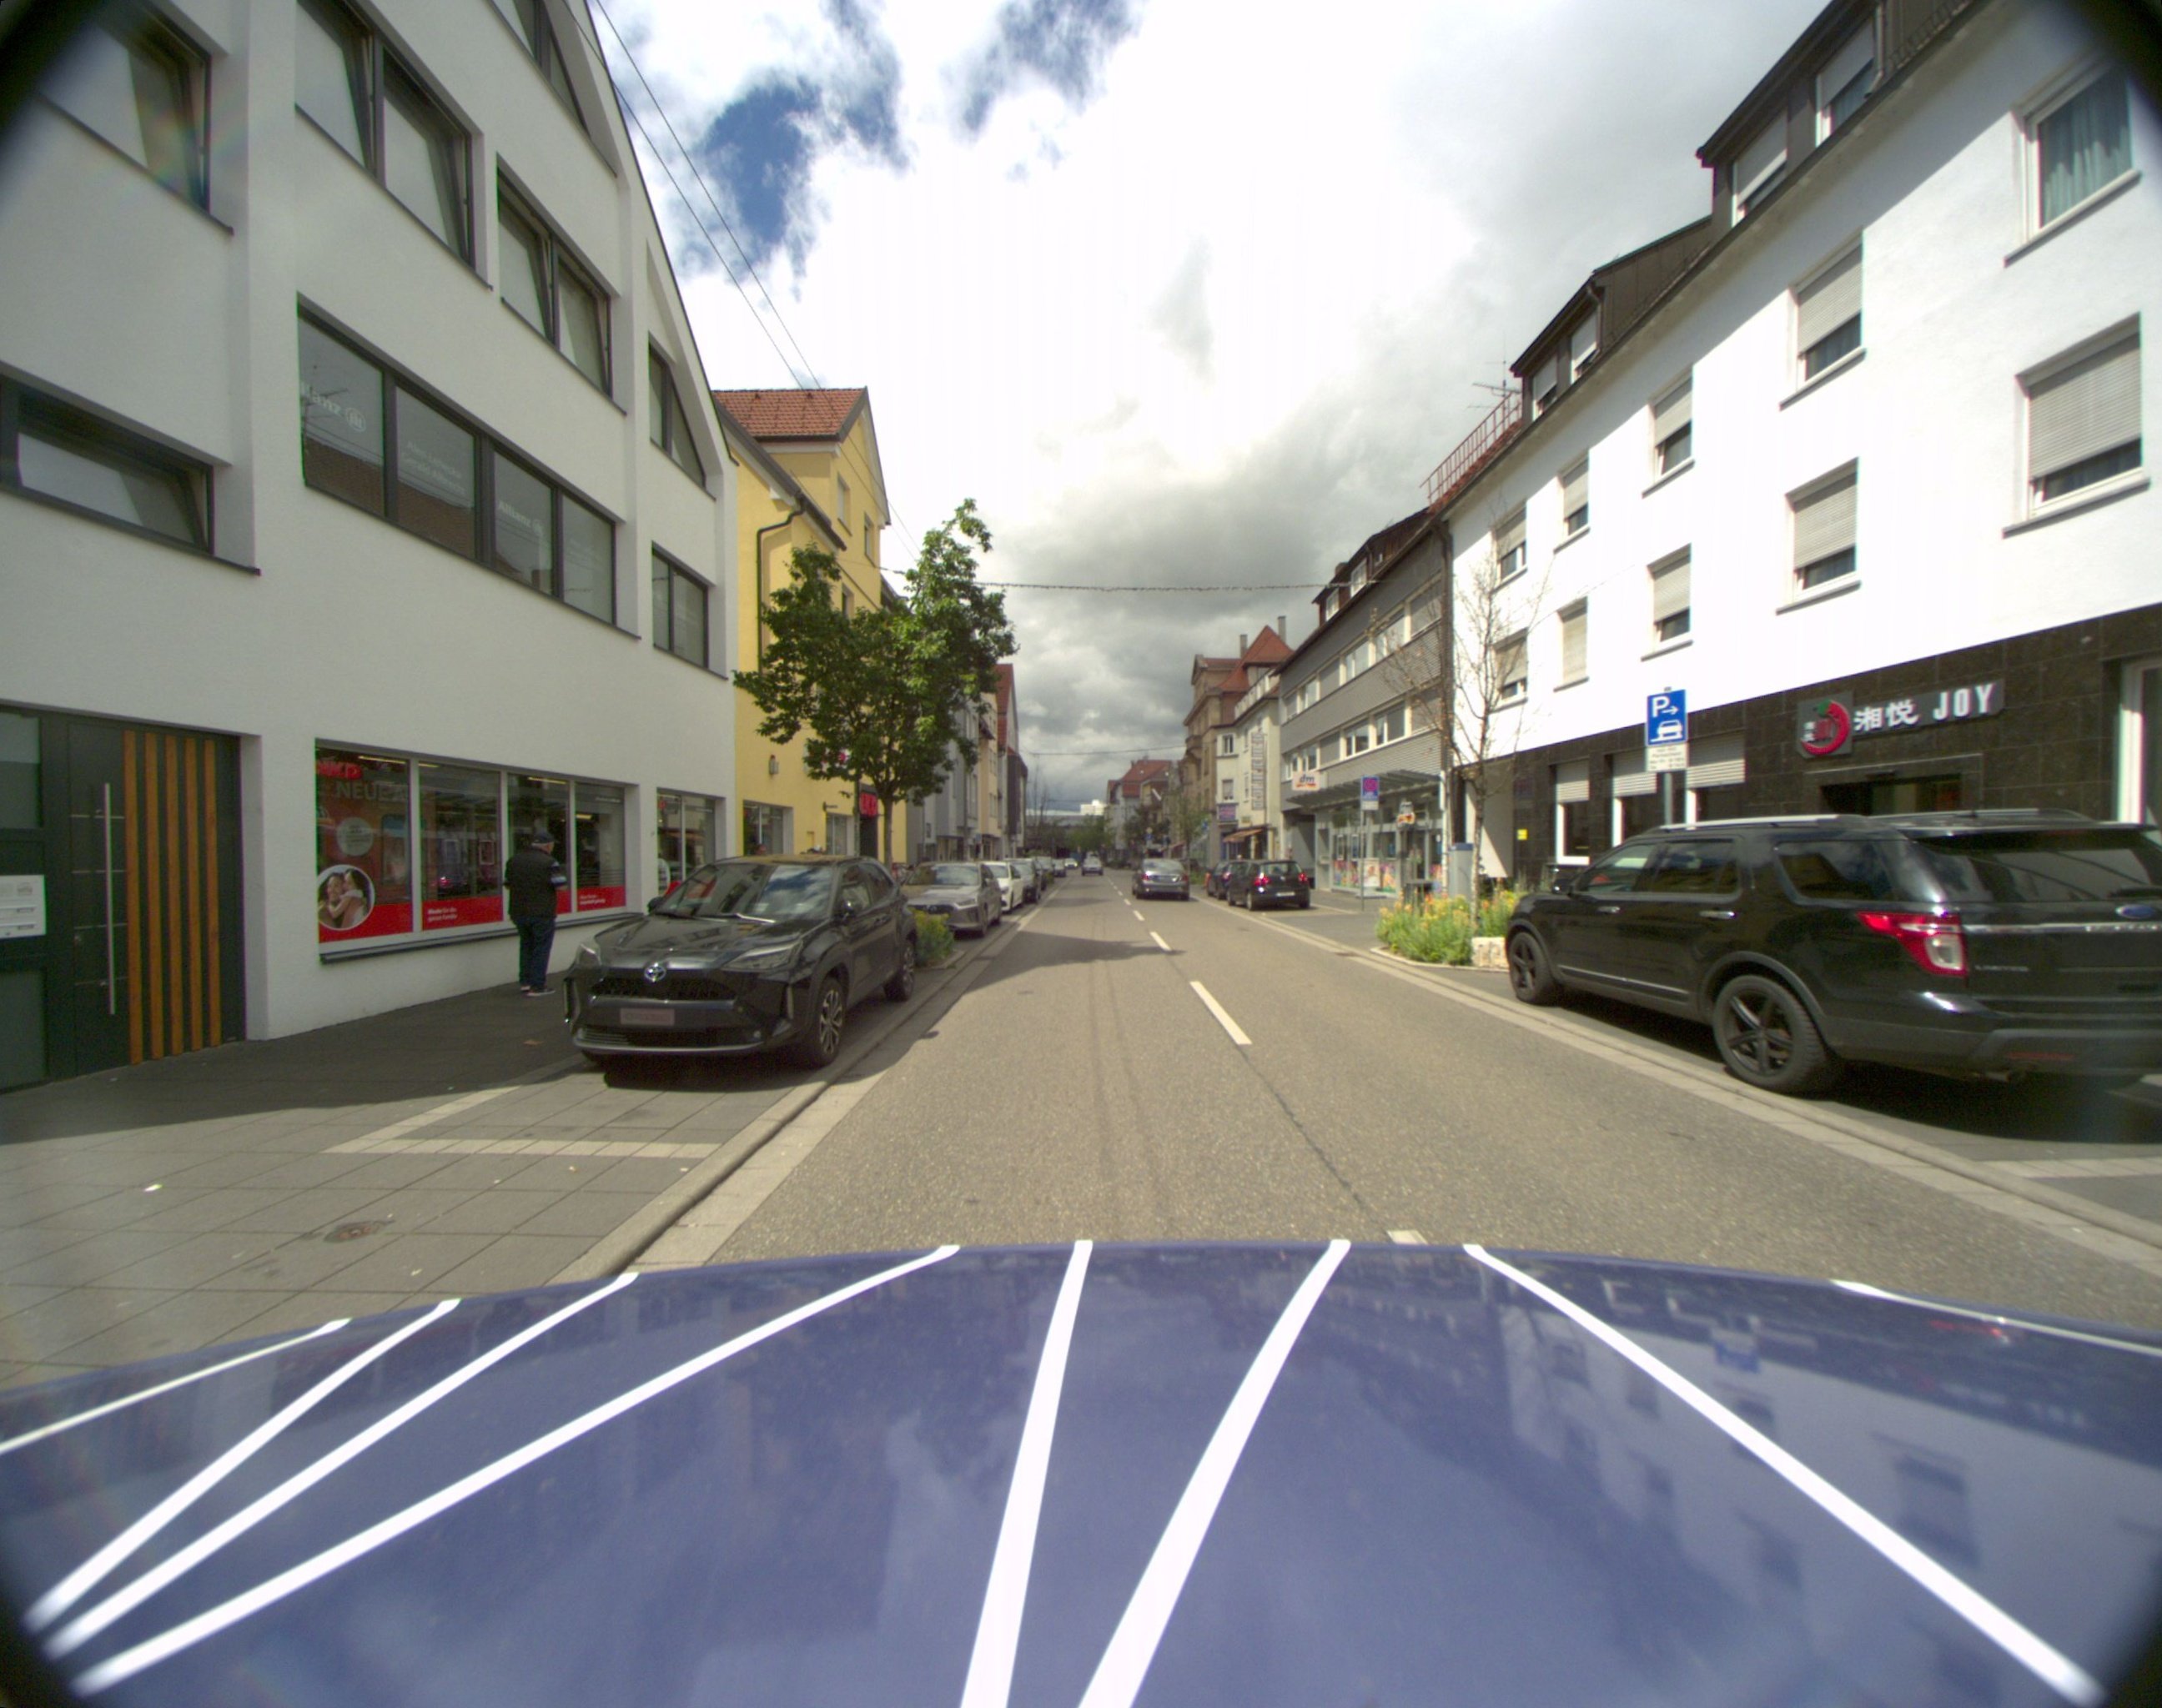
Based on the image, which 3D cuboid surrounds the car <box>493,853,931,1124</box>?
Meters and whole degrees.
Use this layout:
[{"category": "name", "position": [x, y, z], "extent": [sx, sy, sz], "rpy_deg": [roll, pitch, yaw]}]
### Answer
[{"category": "car", "position": [-2.681, 0.833, 6.735], "extent": [1.725, 1.568, 4.108], "rpy_deg": [-2, 1, 1]}]

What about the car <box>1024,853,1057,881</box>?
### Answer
[{"category": "car", "position": [-2.445, 0.767, 46.802], "extent": [1.804, 1.594, 4.203], "rpy_deg": [1, 0, -1]}]

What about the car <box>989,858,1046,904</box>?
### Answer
[{"category": "car", "position": [-2.180, 0.928, 27.087], "extent": [1.694, 1.463, 4.523], "rpy_deg": [-2, -1, -2]}]

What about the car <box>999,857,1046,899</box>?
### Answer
[{"category": "car", "position": [-2.430, 0.988, 32.379], "extent": [1.693, 1.565, 3.755], "rpy_deg": [-2, 1, 0]}]

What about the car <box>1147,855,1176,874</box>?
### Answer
[{"category": "car", "position": [6.700, 0.850, 63.890], "extent": [1.850, 1.390, 4.035], "rpy_deg": [-2, 1, -2]}]

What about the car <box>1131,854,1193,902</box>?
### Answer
[{"category": "car", "position": [2.988, 0.845, 28.862], "extent": [1.910, 1.554, 4.645], "rpy_deg": [2, 1, 1]}]

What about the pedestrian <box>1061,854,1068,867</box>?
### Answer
[{"category": "pedestrian", "position": [-2.003, 0.762, 92.824], "extent": [0.584, 1.590, 0.549], "rpy_deg": [-2, 1, 18]}]

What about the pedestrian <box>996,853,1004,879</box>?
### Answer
[{"category": "pedestrian", "position": [-5.409, 0.825, 50.911], "extent": [0.437, 1.708, 0.537], "rpy_deg": [-2, 1, -2]}]

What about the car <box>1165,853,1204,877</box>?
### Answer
[{"category": "car", "position": [6.428, 0.658, 47.647], "extent": [1.602, 1.437, 3.555], "rpy_deg": [0, 0, -6]}]

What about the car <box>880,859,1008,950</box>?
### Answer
[{"category": "car", "position": [-2.634, 0.910, 15.647], "extent": [1.725, 1.467, 4.353], "rpy_deg": [-2, 1, 1]}]

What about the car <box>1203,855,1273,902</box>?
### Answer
[{"category": "car", "position": [5.905, 0.872, 29.162], "extent": [1.794, 1.504, 4.712], "rpy_deg": [-2, 1, 2]}]

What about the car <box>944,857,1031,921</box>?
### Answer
[{"category": "car", "position": [-2.531, 0.905, 21.738], "extent": [1.634, 1.467, 4.957], "rpy_deg": [-2, 1, 2]}]

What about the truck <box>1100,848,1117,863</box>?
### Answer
[{"category": "truck", "position": [4.501, 0.139, 124.264], "extent": [2.112, 2.292, 6.472], "rpy_deg": [-2, 1, -4]}]

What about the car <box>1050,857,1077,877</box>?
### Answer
[{"category": "car", "position": [-1.371, 1.000, 60.445], "extent": [1.711, 1.412, 4.318], "rpy_deg": [-2, 1, 3]}]

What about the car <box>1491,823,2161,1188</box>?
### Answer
[{"category": "car", "position": [5.289, 0.703, 5.992], "extent": [1.820, 1.745, 4.669], "rpy_deg": [-2, 1, 4]}]

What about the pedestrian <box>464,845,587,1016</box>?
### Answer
[{"category": "pedestrian", "position": [-5.919, 0.780, 8.136], "extent": [0.743, 1.727, 0.757], "rpy_deg": [1, 1, 1]}]

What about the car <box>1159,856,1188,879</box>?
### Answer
[{"category": "car", "position": [6.348, 0.898, 52.416], "extent": [1.589, 1.406, 3.668], "rpy_deg": [-2, 1, 2]}]

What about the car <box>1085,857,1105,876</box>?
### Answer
[{"category": "car", "position": [1.227, 1.054, 66.027], "extent": [1.724, 1.517, 3.598], "rpy_deg": [0, 0, 1]}]

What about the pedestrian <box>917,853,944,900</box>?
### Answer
[{"category": "pedestrian", "position": [-5.062, 0.750, 25.584], "extent": [0.751, 1.544, 0.726], "rpy_deg": [0, 1, 0]}]

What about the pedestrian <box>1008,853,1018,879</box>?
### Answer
[{"category": "pedestrian", "position": [-4.553, 0.830, 50.925], "extent": [0.537, 1.708, 0.606], "rpy_deg": [-2, 1, -1]}]

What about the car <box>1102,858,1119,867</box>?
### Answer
[{"category": "car", "position": [4.389, 1.237, 113.363], "extent": [1.723, 1.296, 4.463], "rpy_deg": [-1, -1, -8]}]

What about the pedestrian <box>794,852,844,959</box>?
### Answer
[{"category": "pedestrian", "position": [-4.634, 0.898, 13.473], "extent": [0.589, 1.830, 0.576], "rpy_deg": [-2, 1, 2]}]

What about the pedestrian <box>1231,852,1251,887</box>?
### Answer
[{"category": "pedestrian", "position": [7.636, 0.719, 36.328], "extent": [0.733, 1.609, 0.651], "rpy_deg": [-2, 1, -4]}]

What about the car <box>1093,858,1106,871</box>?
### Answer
[{"category": "car", "position": [2.450, 1.309, 99.561], "extent": [1.536, 1.521, 3.758], "rpy_deg": [-2, 1, 0]}]

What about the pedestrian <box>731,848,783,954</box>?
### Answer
[{"category": "pedestrian", "position": [-5.748, 0.814, 13.490], "extent": [0.589, 1.830, 0.576], "rpy_deg": [-2, 1, 2]}]

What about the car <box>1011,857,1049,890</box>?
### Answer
[{"category": "car", "position": [-2.431, 0.902, 37.244], "extent": [1.694, 1.432, 4.294], "rpy_deg": [2, 1, -2]}]

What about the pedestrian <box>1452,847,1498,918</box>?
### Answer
[{"category": "pedestrian", "position": [8.301, 0.589, 16.028], "extent": [0.656, 1.446, 0.563], "rpy_deg": [-2, 1, 1]}]

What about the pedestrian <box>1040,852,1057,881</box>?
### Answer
[{"category": "pedestrian", "position": [-2.115, 0.819, 49.518], "extent": [0.978, 1.853, 0.864], "rpy_deg": [1, 1, -1]}]

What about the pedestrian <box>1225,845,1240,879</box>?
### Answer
[{"category": "pedestrian", "position": [8.102, 0.419, 40.652], "extent": [0.549, 1.747, 0.728], "rpy_deg": [-2, 1, -2]}]

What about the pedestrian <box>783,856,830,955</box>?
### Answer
[{"category": "pedestrian", "position": [-5.226, 0.961, 14.493], "extent": [0.589, 1.830, 0.576], "rpy_deg": [-2, 1, 2]}]

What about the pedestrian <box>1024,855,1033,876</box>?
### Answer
[{"category": "pedestrian", "position": [-4.295, 0.916, 62.165], "extent": [0.745, 1.708, 0.655], "rpy_deg": [-1, 1, 0]}]

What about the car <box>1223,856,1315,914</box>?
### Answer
[{"category": "car", "position": [5.625, 0.870, 23.271], "extent": [1.794, 1.494, 4.178], "rpy_deg": [-2, 0, 1]}]

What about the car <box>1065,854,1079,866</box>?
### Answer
[{"category": "car", "position": [-1.162, 0.764, 102.647], "extent": [1.804, 1.594, 4.203], "rpy_deg": [1, 0, -1]}]
